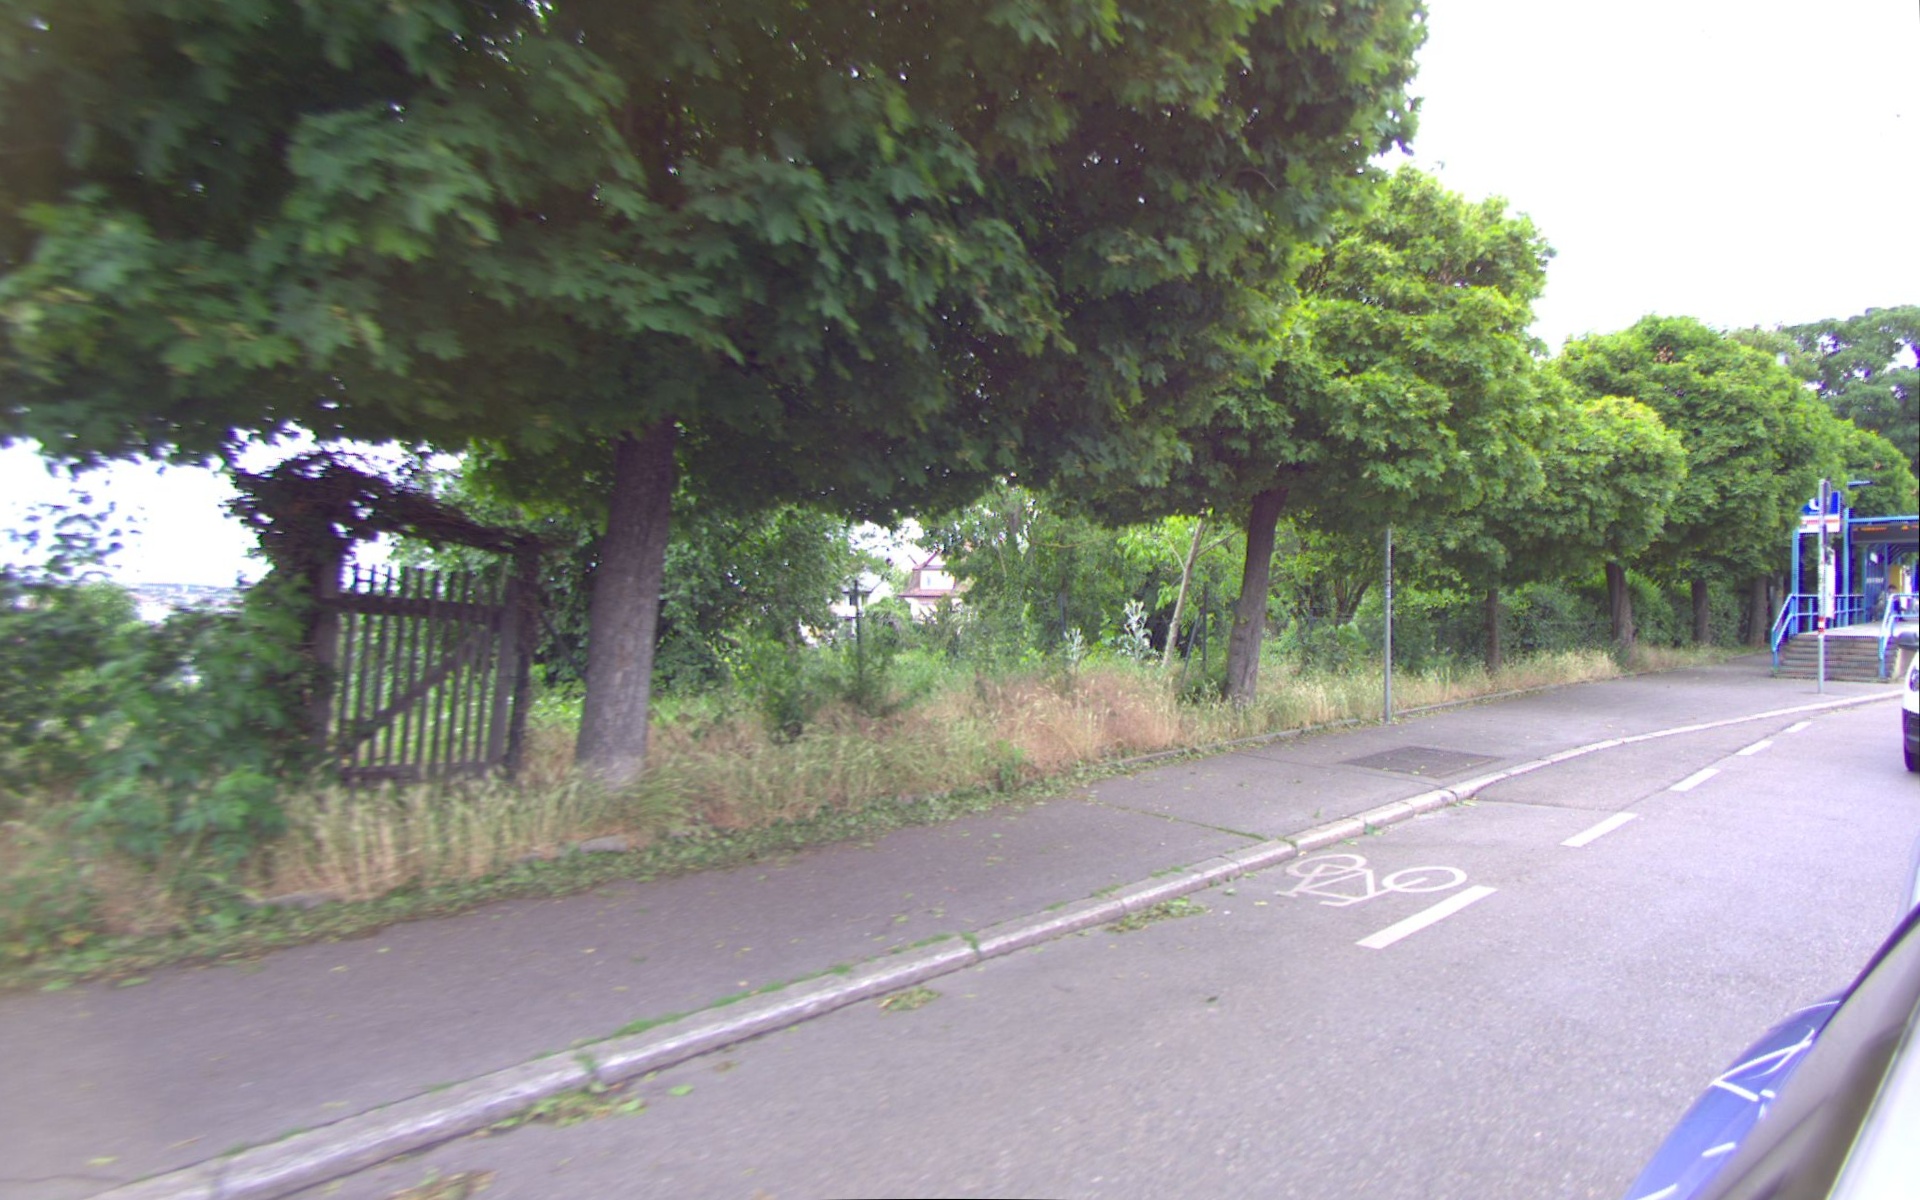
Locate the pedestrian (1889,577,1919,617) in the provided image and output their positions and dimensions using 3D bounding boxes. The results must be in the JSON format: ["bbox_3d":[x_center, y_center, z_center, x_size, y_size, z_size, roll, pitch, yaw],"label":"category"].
[{"bbox_3d":[31.943,-0.095,34.169,0.645,1.331,0.780,1,-1,-42],"label":"pedestrian"}]
